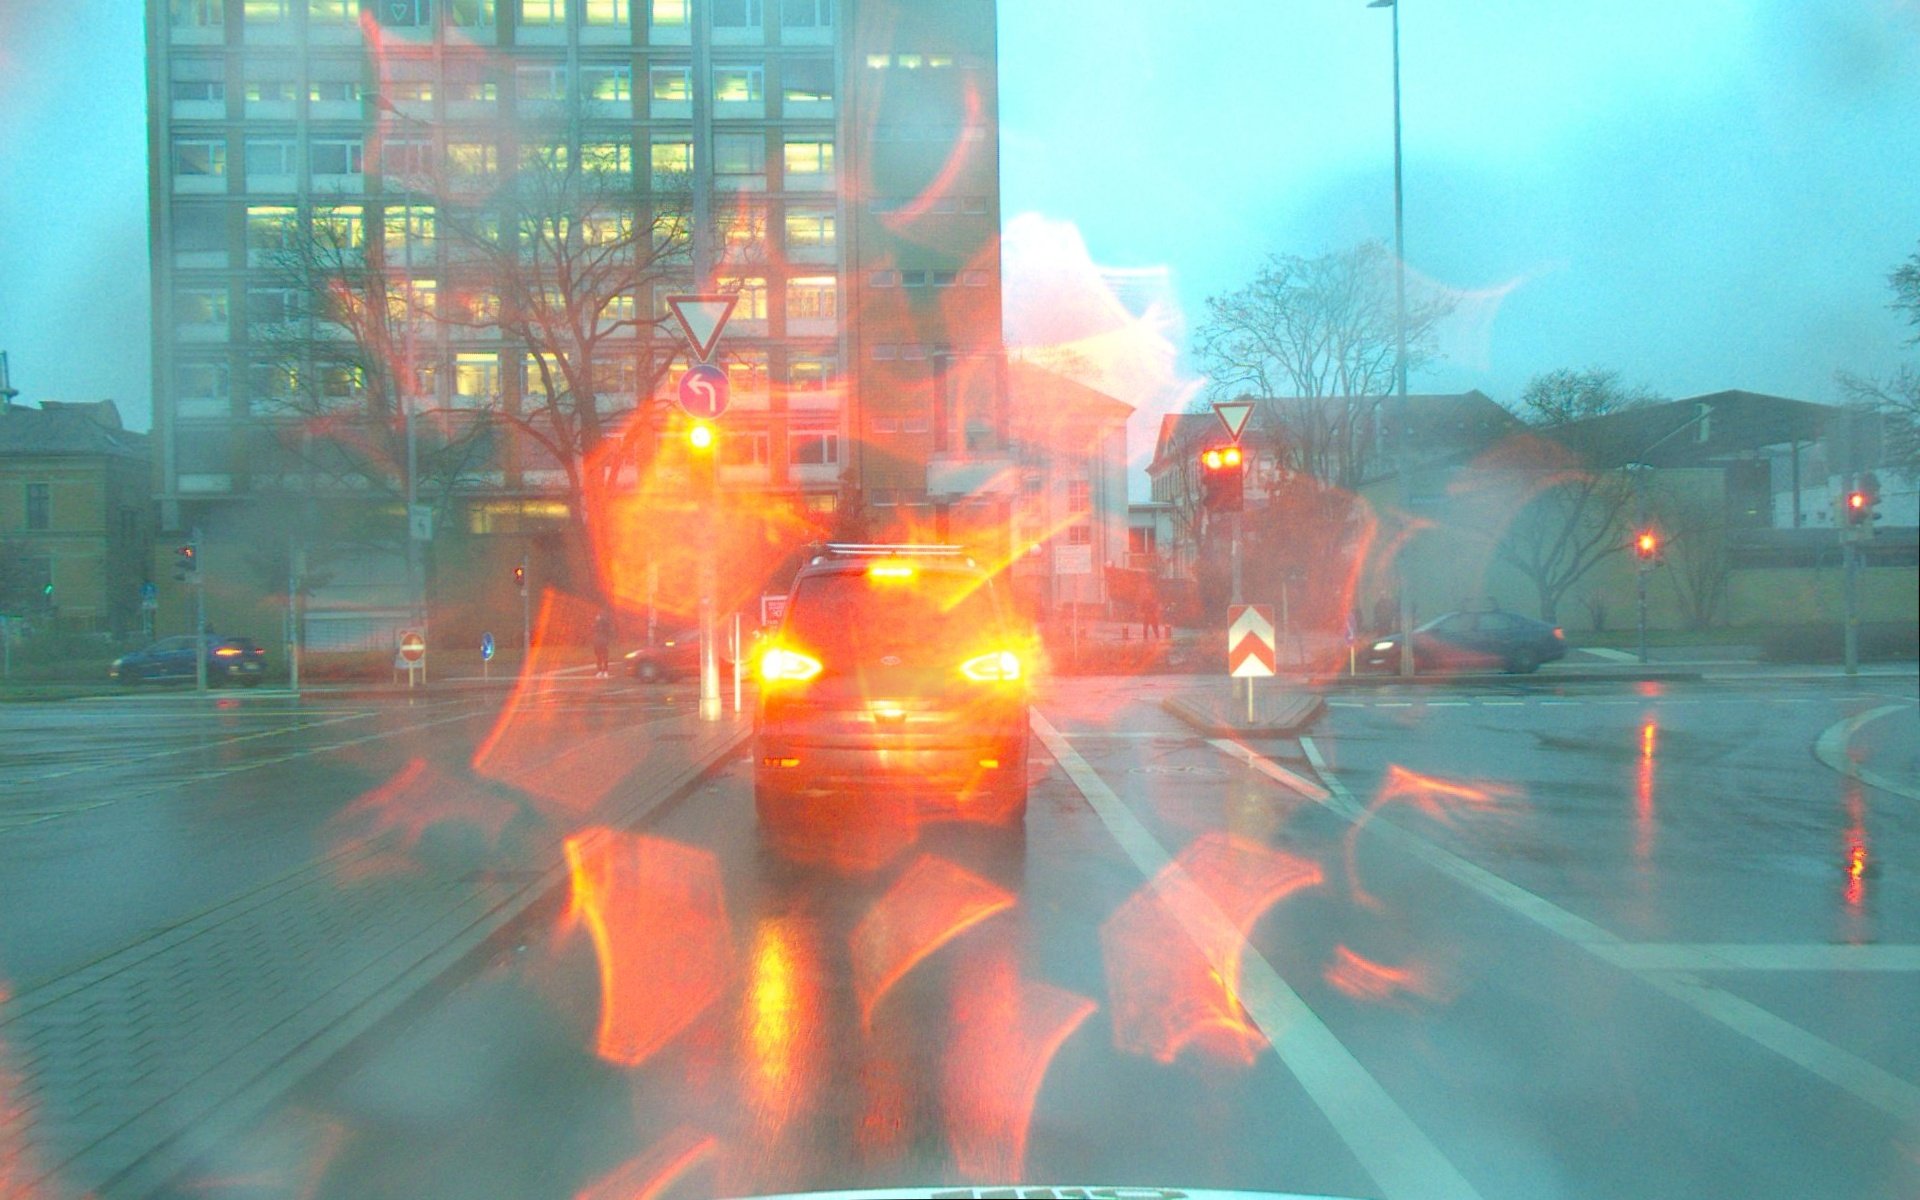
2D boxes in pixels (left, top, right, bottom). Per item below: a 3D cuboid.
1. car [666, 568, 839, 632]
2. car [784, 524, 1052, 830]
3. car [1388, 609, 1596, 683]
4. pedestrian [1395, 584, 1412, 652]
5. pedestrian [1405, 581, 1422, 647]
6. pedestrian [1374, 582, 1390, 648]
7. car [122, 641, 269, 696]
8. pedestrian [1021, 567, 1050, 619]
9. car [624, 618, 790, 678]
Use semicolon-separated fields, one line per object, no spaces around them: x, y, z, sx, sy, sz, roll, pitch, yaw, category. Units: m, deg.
-6.931;0.013;55.637;5.429;2.060;2.001;0;-2;5;car
-0.289;0.456;12.066;1.614;1.850;3.999;1;0;-1;car
12.019;1.042;37.662;4.338;1.608;1.969;0;-2;12;car
12.451;0.508;46.449;0.448;1.871;0.439;0;-2;16;pedestrian
12.967;0.392;47.294;0.428;1.871;0.460;0;-2;17;pedestrian
12.165;0.438;47.716;0.428;1.871;0.460;0;-2;17;pedestrian
-20.429;1.824;44.232;3.338;1.423;1.470;0;-2;14;car
2.478;-0.222;54.149;0.678;1.690;0.669;2;-2;-35;pedestrian
-6.210;1.188;40.781;3.708;1.423;1.566;0;-2;11;car
